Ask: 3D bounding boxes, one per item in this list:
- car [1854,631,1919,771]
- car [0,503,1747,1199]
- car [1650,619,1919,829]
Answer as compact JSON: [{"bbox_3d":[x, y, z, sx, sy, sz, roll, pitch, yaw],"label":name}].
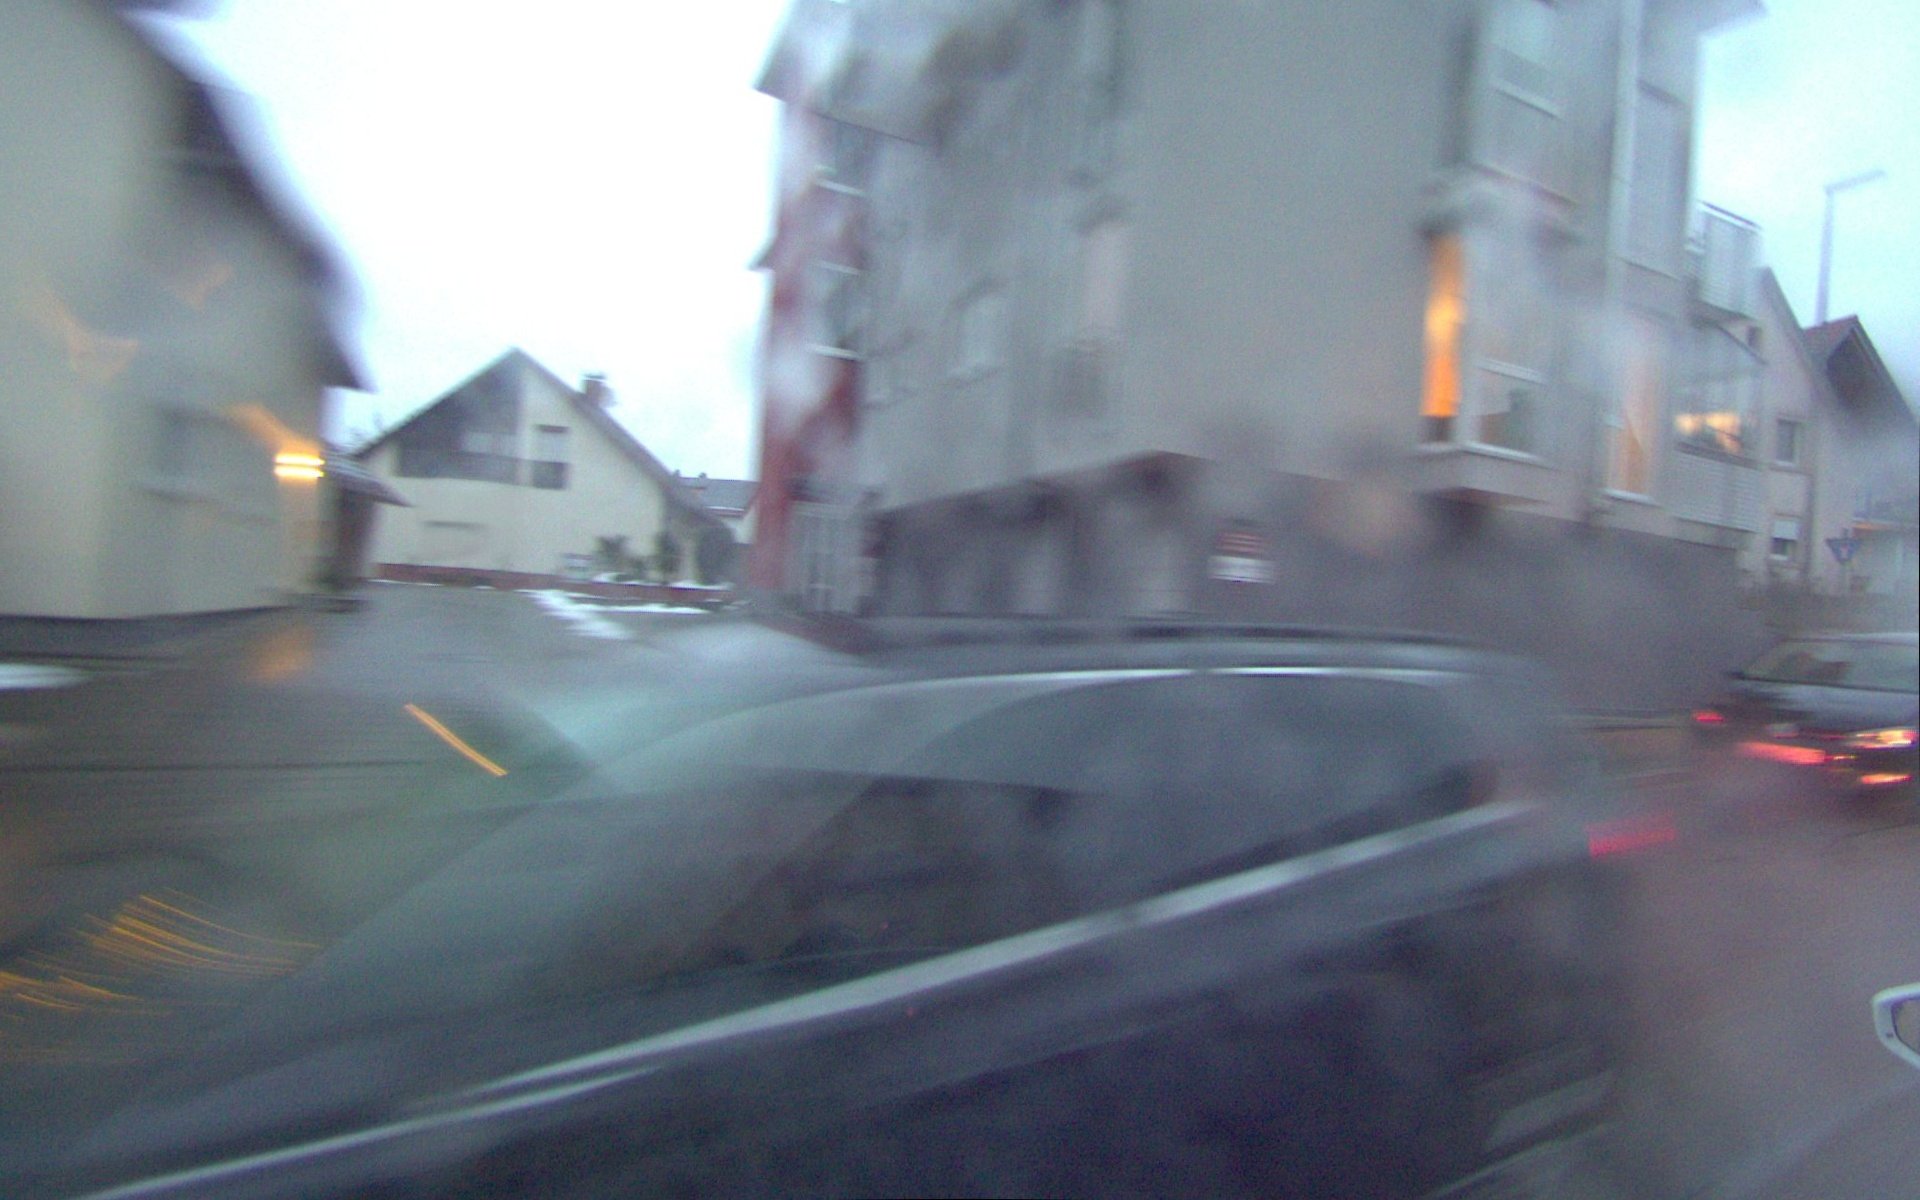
[{"bbox_3d":[11.806,1.102,11.203,3.869,1.428,1.659,1,0,-31],"label":"car"},{"bbox_3d":[-0.161,0.715,2.302,4.331,1.515,1.764,1,-1,-32],"label":"car"},{"bbox_3d":[8.005,0.969,8.947,3.648,1.436,1.656,2,1,-31],"label":"car"}]
